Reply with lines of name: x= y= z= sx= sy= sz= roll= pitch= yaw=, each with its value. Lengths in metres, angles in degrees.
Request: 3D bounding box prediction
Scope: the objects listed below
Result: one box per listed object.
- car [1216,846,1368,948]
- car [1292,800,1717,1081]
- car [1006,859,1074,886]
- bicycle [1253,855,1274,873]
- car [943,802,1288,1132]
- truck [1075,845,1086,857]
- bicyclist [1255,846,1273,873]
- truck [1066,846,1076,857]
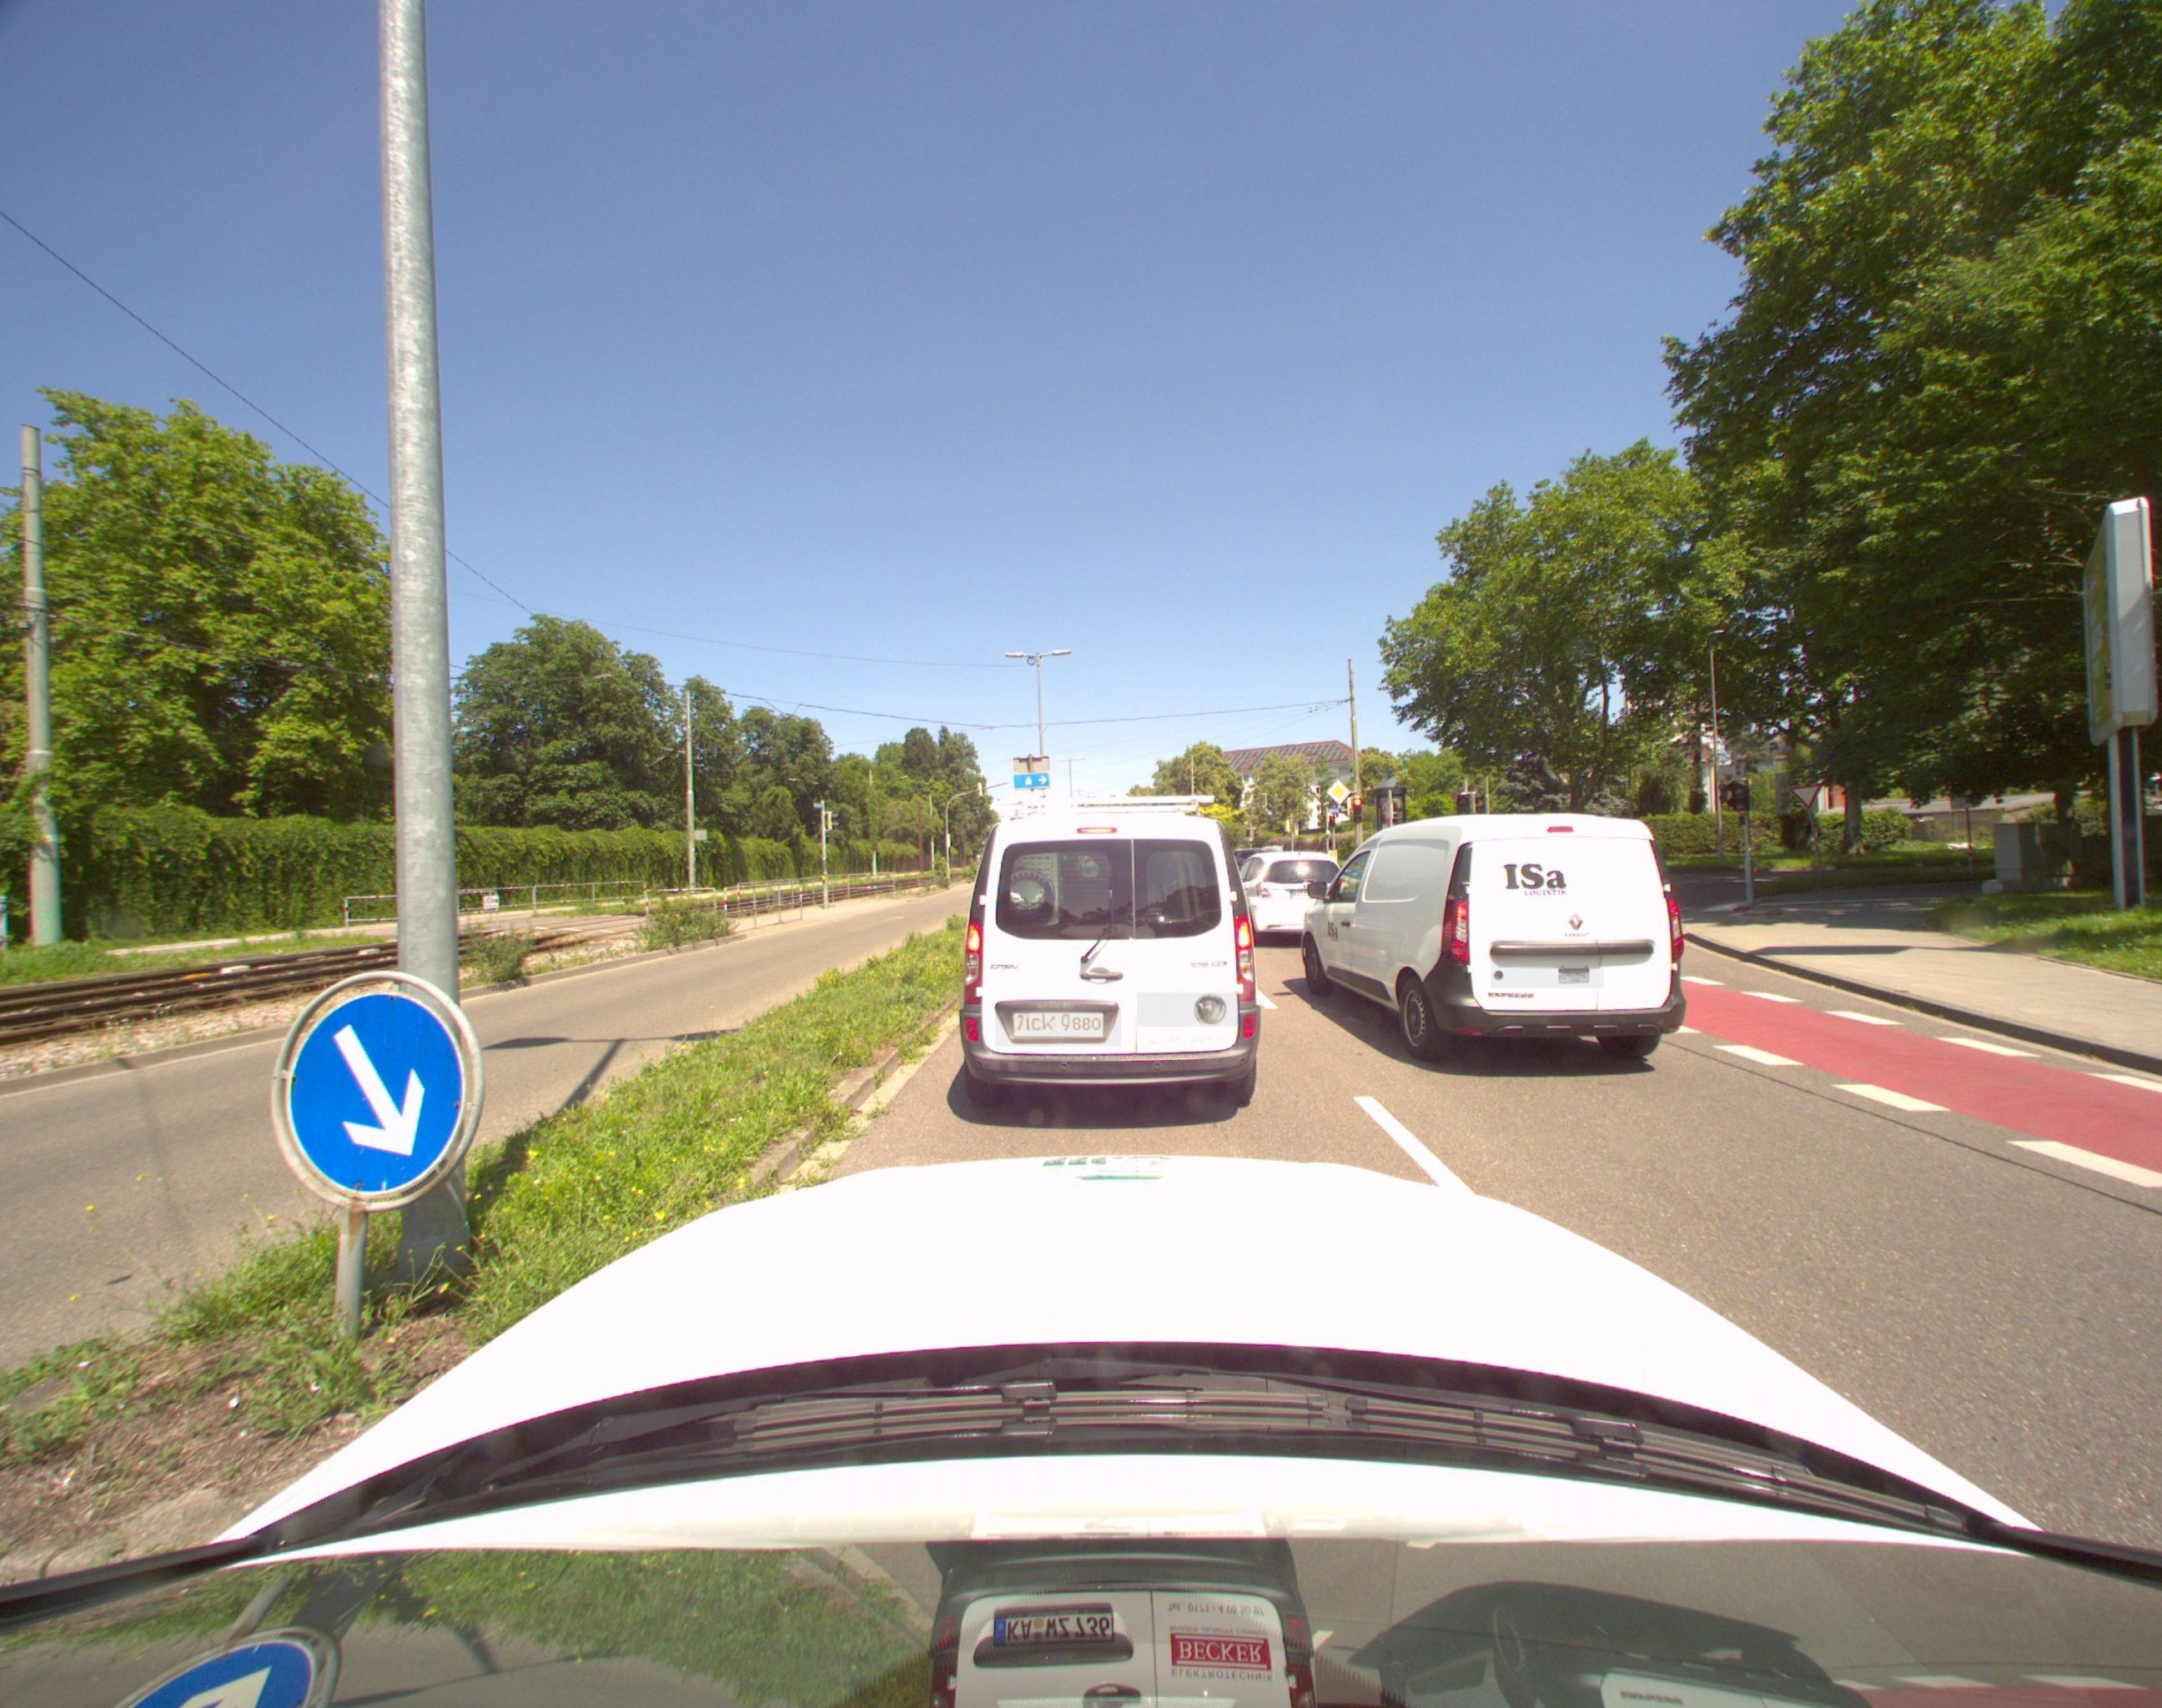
car: x=3.621 y=0.657 z=14.694 sx=1.828 sy=1.568 sz=4.002 roll=0 pitch=0 yaw=2
car: x=3.241 y=0.563 z=7.255 sx=1.721 sy=1.788 sz=4.065 roll=0 pitch=0 yaw=1
car: x=-2.492 y=1.129 z=48.491 sx=3.949 sy=1.520 sz=1.763 roll=-2 pitch=-1 yaw=43
bicycle: x=12.552 y=0.681 z=56.089 sx=0.890 sy=1.159 sz=1.954 roll=-2 pitch=-1 yaw=-3
car: x=0.250 y=0.616 z=6.534 sx=1.814 sy=1.740 sz=4.398 roll=-1 pitch=0 yaw=2
truck: x=-0.081 y=-0.603 z=186.964 sx=2.131 sy=2.587 sz=5.891 roll=0 pitch=-1 yaw=2
bicyclist: x=12.583 y=0.391 z=56.069 sx=0.971 sy=1.788 sz=0.725 roll=-2 pitch=-1 yaw=-3
truck: x=-2.327 y=-0.512 z=196.148 sx=2.131 sy=2.587 sz=5.891 roll=0 pitch=-1 yaw=2
